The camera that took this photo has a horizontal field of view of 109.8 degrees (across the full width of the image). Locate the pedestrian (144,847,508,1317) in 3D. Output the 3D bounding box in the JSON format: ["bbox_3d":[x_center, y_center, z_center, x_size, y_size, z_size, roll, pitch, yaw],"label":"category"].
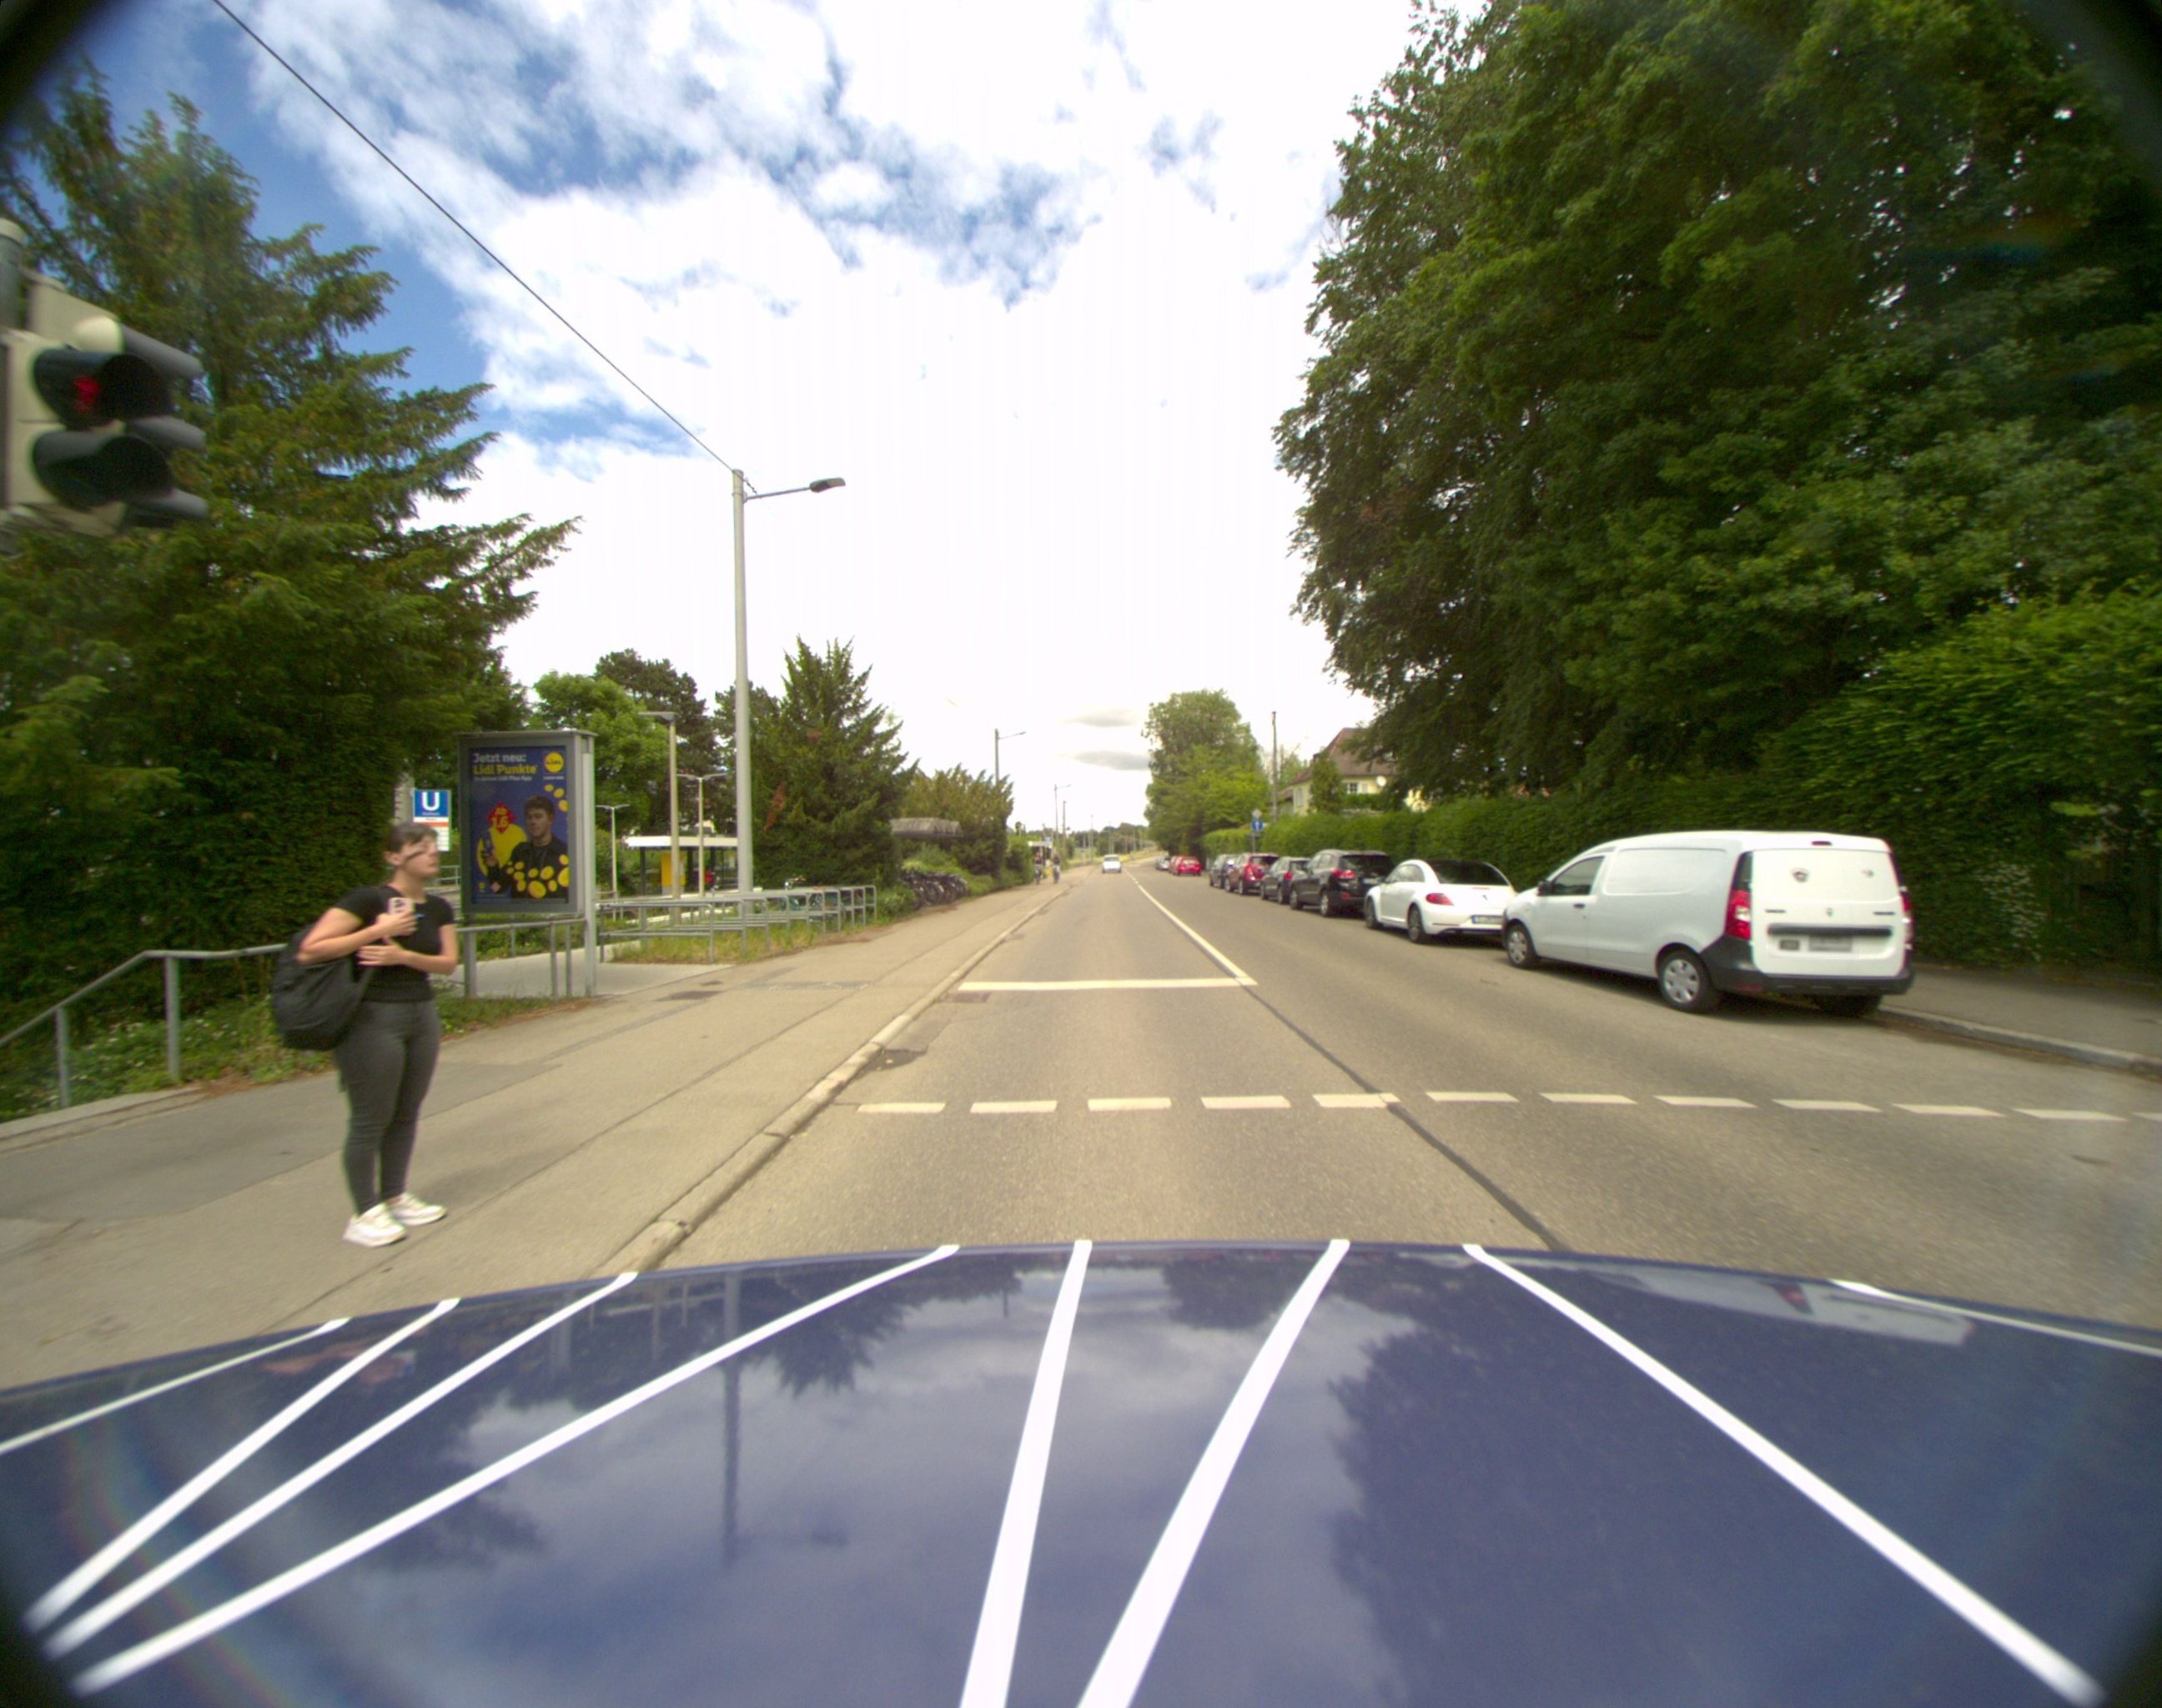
[{"bbox_3d":[-2.940,0.815,3.042,0.649,1.655,0.708,-2,1,5],"label":"pedestrian"}]

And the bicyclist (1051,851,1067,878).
[{"bbox_3d":[-1.276,0.597,43.612,0.826,1.530,0.861,-2,1,-1],"label":"bicyclist"}]

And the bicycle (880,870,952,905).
[{"bbox_3d":[-5.388,1.095,24.845,2.206,1.041,0.451,2,1,-1],"label":"bicycle"}]

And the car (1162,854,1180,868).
[{"bbox_3d":[9.088,0.650,76.697,1.676,1.363,3.608,1,0,7],"label":"car"}]

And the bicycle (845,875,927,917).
[{"bbox_3d":[-5.368,1.146,20.971,2.094,1.041,0.450,-2,1,-1],"label":"bicycle"}]

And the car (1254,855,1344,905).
[{"bbox_3d":[7.013,0.775,24.880,1.737,1.450,4.237,-1,0,0],"label":"car"}]

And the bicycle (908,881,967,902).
[{"bbox_3d":[-4.992,1.303,26.550,1.988,0.635,0.332,-2,1,-10],"label":"bicycle"}]

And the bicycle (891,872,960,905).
[{"bbox_3d":[-5.160,1.153,25.265,2.205,1.041,0.451,-1,1,7],"label":"bicycle"}]

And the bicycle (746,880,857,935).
[{"bbox_3d":[-5.781,1.101,15.767,2.093,1.074,0.547,0,1,4],"label":"bicycle"}]

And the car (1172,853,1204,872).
[{"bbox_3d":[8.058,0.616,57.373,1.971,1.394,4.066,-1,0,2],"label":"car"}]

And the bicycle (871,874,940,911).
[{"bbox_3d":[-5.217,1.123,22.541,2.090,1.041,0.451,0,2,22],"label":"bicycle"}]

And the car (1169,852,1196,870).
[{"bbox_3d":[8.532,0.608,64.074,1.853,1.442,3.748,-1,0,1],"label":"car"}]

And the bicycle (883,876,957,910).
[{"bbox_3d":[-5.024,1.216,23.769,2.206,0.932,0.451,-2,1,-2],"label":"bicycle"}]

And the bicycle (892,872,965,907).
[{"bbox_3d":[-4.839,1.129,24.237,2.206,1.041,0.451,-1,1,-1],"label":"bicycle"}]

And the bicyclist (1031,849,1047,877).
[{"bbox_3d":[-2.325,0.517,42.530,0.826,1.529,0.862,-1,1,0],"label":"bicyclist"}]

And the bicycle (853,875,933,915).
[{"bbox_3d":[-5.308,1.154,21.526,2.094,1.041,0.450,-2,1,-1],"label":"bicycle"}]

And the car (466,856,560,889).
[{"bbox_3d":[-34.414,1.101,46.148,4.000,1.620,1.998,-4,0,-9],"label":"car"}]

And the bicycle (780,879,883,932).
[{"bbox_3d":[-5.622,1.154,17.171,2.093,1.041,0.559,-3,1,4],"label":"bicycle"}]

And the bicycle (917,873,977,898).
[{"bbox_3d":[-4.940,1.161,28.050,2.081,0.821,0.451,-2,1,7],"label":"bicycle"}]

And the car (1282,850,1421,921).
[{"bbox_3d":[6.807,0.713,19.696,1.901,1.584,4.643,-1,0,0],"label":"car"}]

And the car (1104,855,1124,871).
[{"bbox_3d":[2.983,0.823,68.990,1.665,1.394,3.899,-1,0,1],"label":"car"}]

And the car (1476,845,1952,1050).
[{"bbox_3d":[6.665,0.800,8.863,1.681,1.748,4.607,1,0,0],"label":"car"}]

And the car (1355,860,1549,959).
[{"bbox_3d":[6.601,0.887,14.120,1.708,1.445,4.358,2,0,4],"label":"car"}]

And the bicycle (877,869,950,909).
[{"bbox_3d":[-5.108,1.069,23.239,2.094,1.144,0.530,-2,1,-2],"label":"bicycle"}]

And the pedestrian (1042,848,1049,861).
[{"bbox_3d":[-3.529,0.022,75.385,0.588,1.272,0.582,-2,1,5],"label":"pedestrian"}]

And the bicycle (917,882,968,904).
[{"bbox_3d":[-4.780,1.345,26.278,1.682,0.635,0.332,-2,1,-10],"label":"bicycle"}]

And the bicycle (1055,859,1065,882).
[{"bbox_3d":[-1.222,0.931,43.677,0.451,1.278,2.207,-2,1,-3],"label":"bicycle"}]

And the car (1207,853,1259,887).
[{"bbox_3d":[7.191,0.726,36.277,1.761,1.525,4.328,0,0,2],"label":"car"}]

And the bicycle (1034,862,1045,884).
[{"bbox_3d":[-2.307,1.040,42.570,0.451,1.143,2.207,-1,1,0],"label":"bicycle"}]

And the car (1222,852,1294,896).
[{"bbox_3d":[6.993,0.748,30.515,1.795,1.601,4.416,-1,0,-1],"label":"car"}]

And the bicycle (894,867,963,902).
[{"bbox_3d":[-5.148,1.020,25.685,2.205,1.143,0.451,-1,1,7],"label":"bicycle"}]

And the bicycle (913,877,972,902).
[{"bbox_3d":[-5.000,1.284,27.449,1.994,0.821,0.451,-2,1,1],"label":"bicycle"}]
